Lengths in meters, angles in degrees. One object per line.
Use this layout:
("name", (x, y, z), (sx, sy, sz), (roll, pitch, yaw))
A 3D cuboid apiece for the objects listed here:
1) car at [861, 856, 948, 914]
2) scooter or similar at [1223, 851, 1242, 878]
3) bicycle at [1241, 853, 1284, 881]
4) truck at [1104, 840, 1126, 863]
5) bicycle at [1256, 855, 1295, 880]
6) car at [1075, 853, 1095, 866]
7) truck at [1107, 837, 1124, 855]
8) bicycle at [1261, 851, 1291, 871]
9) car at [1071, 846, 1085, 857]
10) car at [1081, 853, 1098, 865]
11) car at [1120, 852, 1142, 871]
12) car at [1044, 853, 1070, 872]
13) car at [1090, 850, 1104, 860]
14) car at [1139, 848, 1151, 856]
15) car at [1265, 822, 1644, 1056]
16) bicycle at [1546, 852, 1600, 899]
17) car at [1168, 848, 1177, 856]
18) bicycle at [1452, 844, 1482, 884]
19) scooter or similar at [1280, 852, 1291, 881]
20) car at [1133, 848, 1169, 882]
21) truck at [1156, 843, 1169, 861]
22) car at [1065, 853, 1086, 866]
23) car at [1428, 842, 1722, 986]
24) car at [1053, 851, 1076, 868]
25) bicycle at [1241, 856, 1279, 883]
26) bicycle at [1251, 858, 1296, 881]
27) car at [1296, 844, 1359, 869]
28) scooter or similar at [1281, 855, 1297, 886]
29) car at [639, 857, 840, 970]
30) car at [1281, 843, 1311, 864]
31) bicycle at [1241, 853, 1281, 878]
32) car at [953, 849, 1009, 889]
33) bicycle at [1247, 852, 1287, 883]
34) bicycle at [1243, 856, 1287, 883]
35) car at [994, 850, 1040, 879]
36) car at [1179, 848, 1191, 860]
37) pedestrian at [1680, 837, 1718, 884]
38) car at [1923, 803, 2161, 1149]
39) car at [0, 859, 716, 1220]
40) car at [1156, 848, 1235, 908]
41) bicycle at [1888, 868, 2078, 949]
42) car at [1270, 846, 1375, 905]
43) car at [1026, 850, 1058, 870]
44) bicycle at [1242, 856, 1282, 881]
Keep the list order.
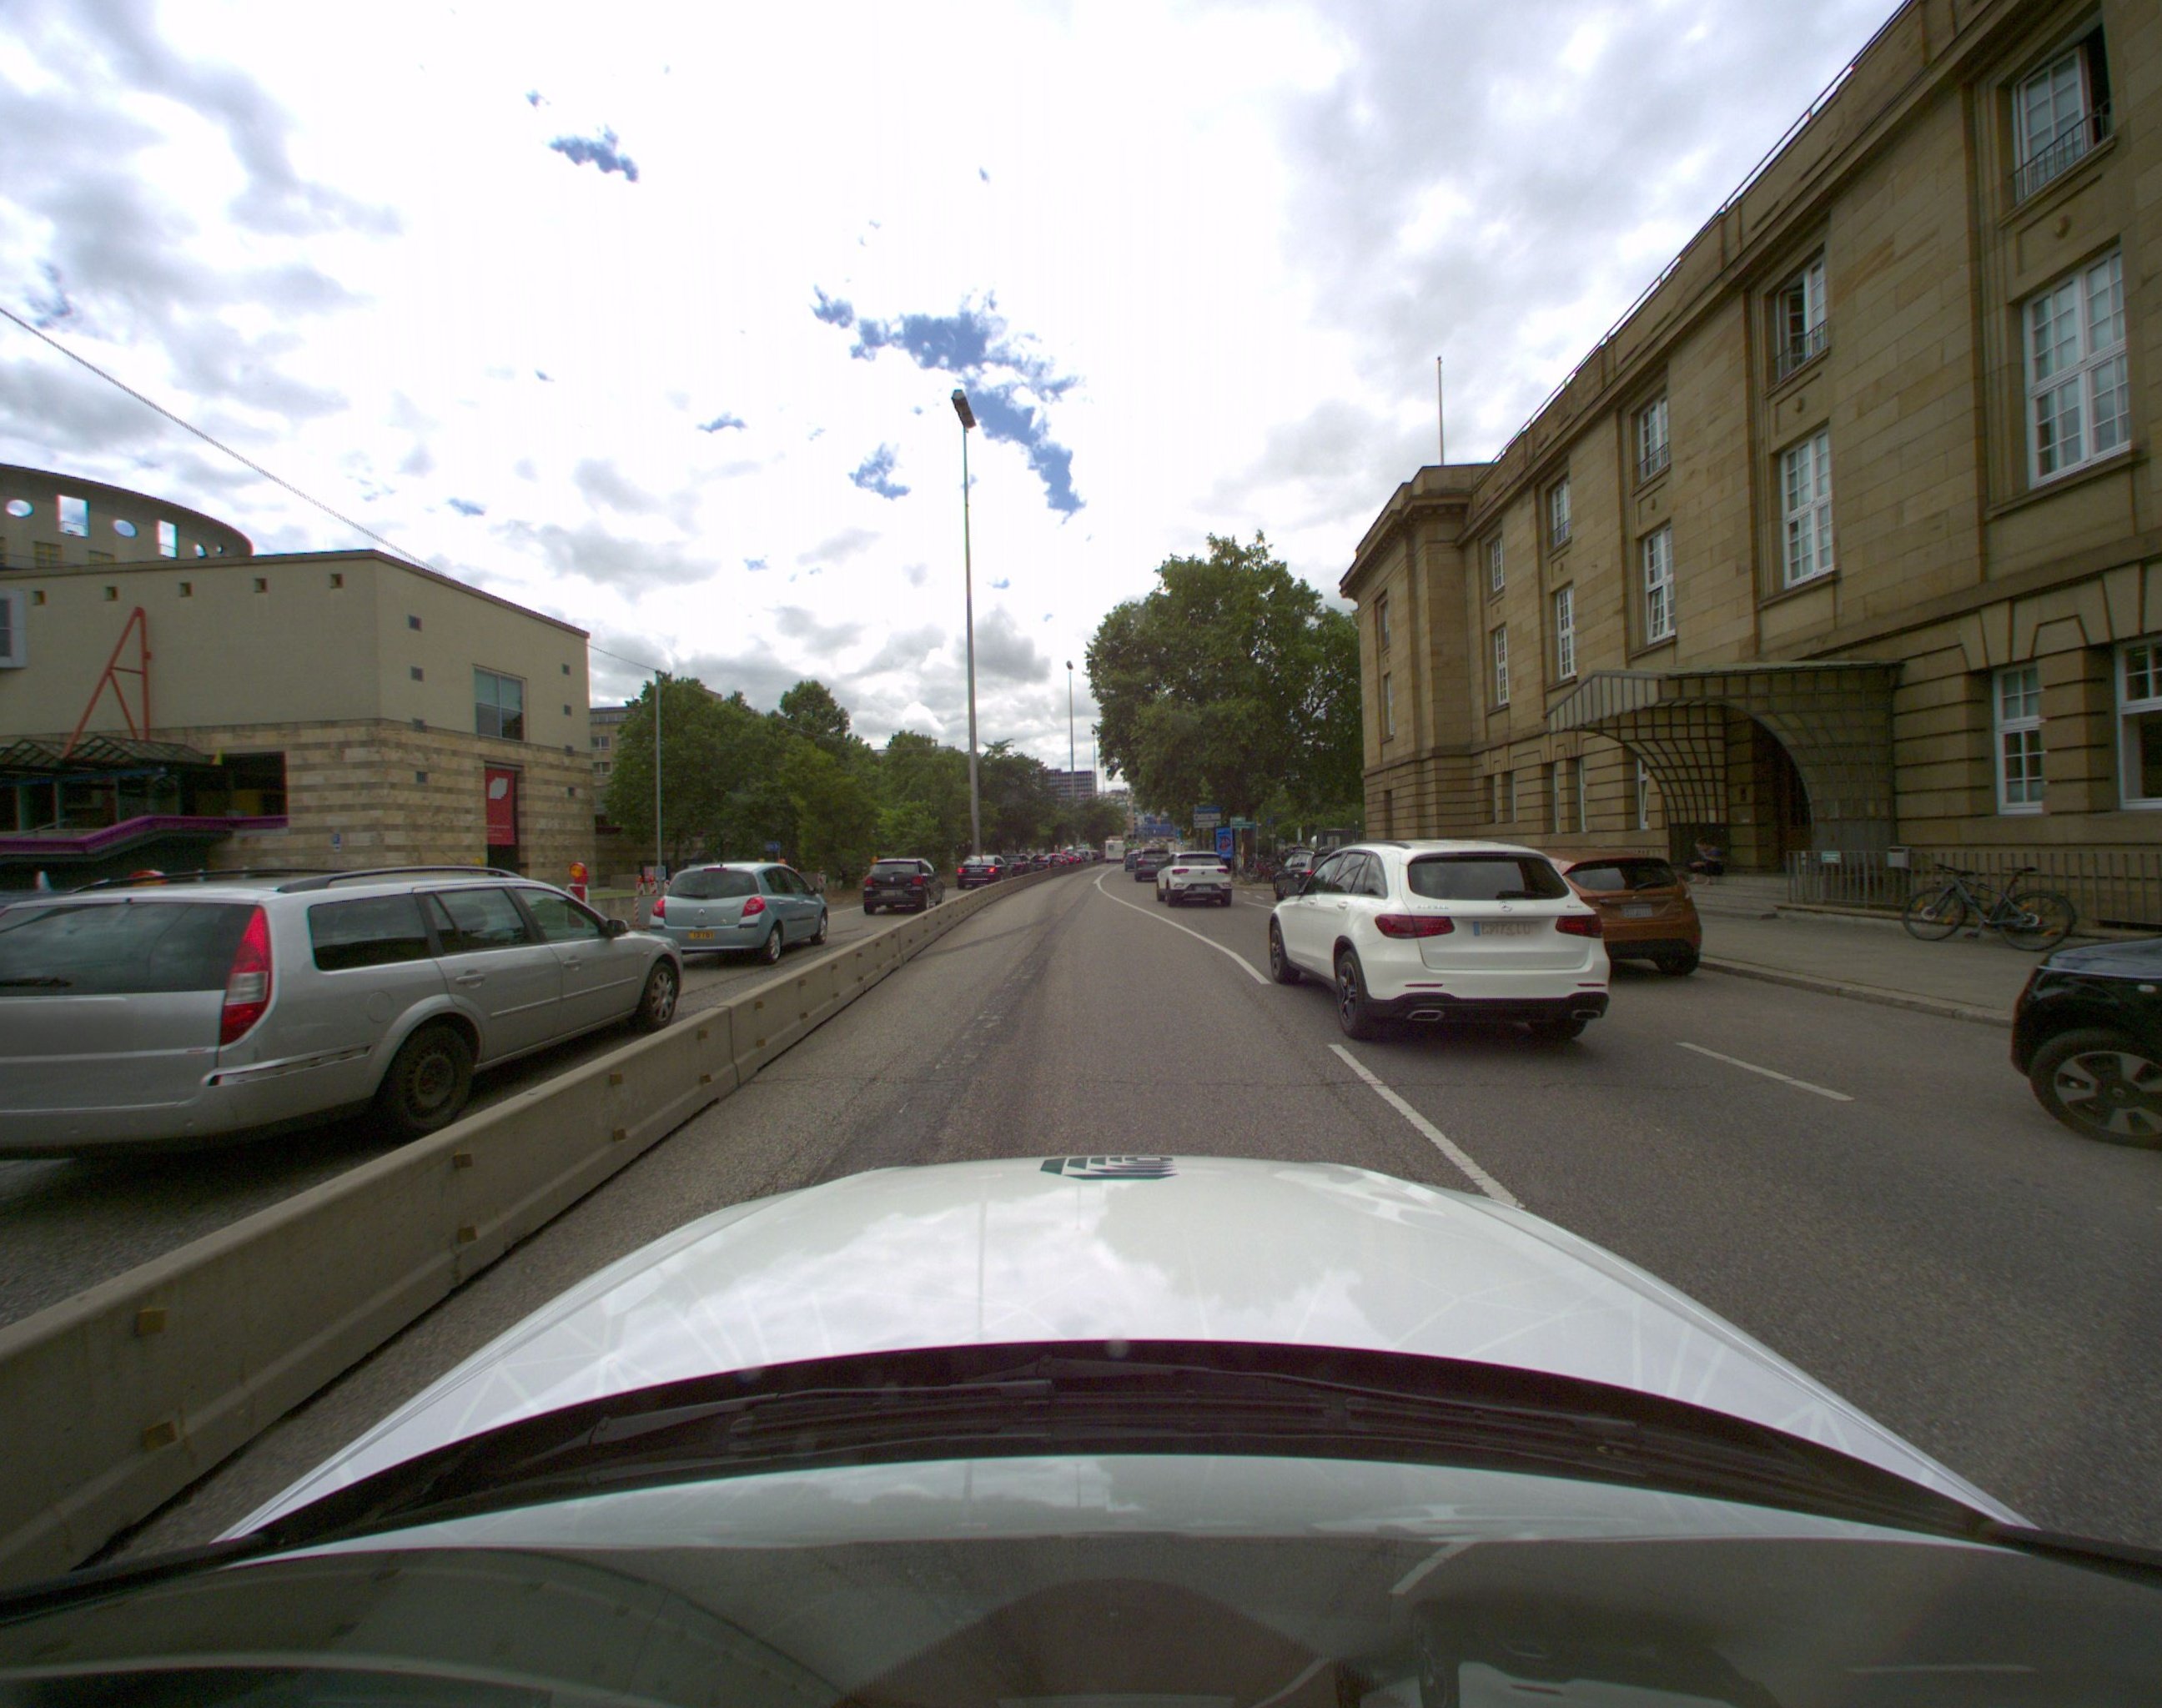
("car", (-4.783, 0.786, 22.556), (1.655, 1.454, 4.193), (-1, 0, -3))
("scooter or similar", (7.453, 0.519, 40.069), (0.722, 1.331, 1.415), (0, 0, 3))
("bicycle", (7.970, 0.556, 35.781), (1.751, 1.209, 0.604), (0, 0, 0))
("truck", (4.493, -0.351, 107.052), (2.609, 2.861, 7.086), (0, 0, 4))
("bicycle", (8.091, 0.550, 33.814), (1.551, 1.028, 0.438), (0, 0, 15))
("car", (0.433, 0.593, 87.936), (1.650, 1.319, 3.555), (-1, 0, 8))
("truck", (5.748, -1.299, 135.088), (2.680, 2.992, 5.643), (0, 0, 4))
("bicycle", (12.604, 0.465, 52.688), (1.775, 1.221, 0.493), (-1, 0, 6))
("car", (-0.544, -0.469, 155.050), (2.106, 1.969, 5.585), (-2, 0, 5))
("car", (1.050, 0.616, 97.631), (1.651, 1.319, 3.553), (-1, 0, 6))
("car", (4.014, 0.613, 64.755), (1.652, 1.413, 3.551), (-1, 0, 4))
("car", (-1.884, 0.678, 65.835), (1.654, 1.436, 3.965), (-1, 0, 4))
("car", (2.228, 0.175, 112.588), (1.651, 1.319, 3.553), (-1, 0, 6))
("car", (10.673, -0.345, 135.995), (1.937, 1.319, 4.023), (-1, 0, 6))
("car", (3.127, 0.605, 7.958), (1.781, 1.625, 4.439), (-1, 0, 2))
("bicycle", (11.275, 0.470, 18.702), (0.221, 1.029, 1.861), (0, 0, 4))
("car", (20.048, -0.472, 178.814), (1.750, 1.669, 4.174), (-1, 0, 5))
("bicycle", (11.668, 0.295, 24.648), (0.274, 1.183, 1.541), (-3, -1, 6))
("scooter or similar", (8.730, 0.533, 34.724), (0.422, 1.224, 1.317), (0, -1, 14))
("car", (3.527, 0.527, 41.516), (1.653, 1.639, 3.549), (-1, 0, 2))
("truck", (19.549, -0.430, 194.415), (2.864, 4.103, 6.645), (0, 0, 4))
("car", (-0.533, 0.537, 81.097), (1.650, 1.319, 3.555), (-1, 0, 8))
("car", (6.060, 0.639, 10.582), (1.609, 1.455, 3.862), (-3, 0, 3))
("car", (-1.471, 0.506, 73.376), (1.769, 1.420, 4.001), (-2, 0, 1))
("bicycle", (7.637, 0.657, 34.694), (1.616, 1.130, 0.467), (0, 0, -22))
("bicycle", (7.961, 0.656, 33.655), (1.713, 0.917, 0.617), (-2, -1, 22))
("car", (16.844, 0.156, 55.773), (3.818, 1.568, 1.681), (-1, 0, 4))
("scooter or similar", (8.821, 0.686, 34.536), (0.559, 1.278, 1.151), (0, 0, 10))
("car", (-5.200, 0.810, 12.981), (1.668, 1.507, 3.851), (-1, 0, -2))
("car", (17.979, -0.045, 68.229), (1.752, 1.551, 4.033), (-2, 2, 5))
("bicycle", (8.090, 0.523, 36.625), (1.715, 1.091, 0.382), (0, 0, 17))
("car", (-4.333, 0.634, 36.080), (1.918, 1.636, 4.934), (-1, 0, -1))
("bicycle", (7.591, 0.533, 33.269), (1.529, 1.257, 0.546), (0, 0, 22))
("bicycle", (7.423, 0.635, 32.844), (1.648, 1.074, 0.588), (-1, 0, 23))
("car", (-3.521, 0.547, 45.732), (1.808, 1.499, 4.774), (-2, 0, 4))
("car", (19.087, 0.025, 149.220), (1.984, 2.014, 4.006), (-1, 0, 6))
("pedestrian", (11.613, 0.127, 15.310), (0.427, 0.873, 0.373), (0, -1, 5))
("car", (5.593, 0.533, 2.919), (1.537, 1.552, 3.716), (-5, 0, 8))
("car", (-4.515, 0.798, 5.772), (1.874, 1.481, 4.700), (-1, 0, -2))
("car", (3.293, 0.655, 23.967), (1.790, 1.608, 3.754), (-1, 0, 0))
("bicycle", (10.494, 0.594, 9.573), (0.304, 0.844, 1.881), (0, -1, 6))
("car", (6.617, 0.548, 22.784), (1.781, 1.486, 4.327), (-1, 0, 2))
("car", (-2.775, 0.401, 58.871), (1.670, 1.367, 4.548), (-2, 0, 4))
("bicycle", (8.065, 0.634, 36.233), (1.716, 1.091, 0.576), (0, 0, 12))
